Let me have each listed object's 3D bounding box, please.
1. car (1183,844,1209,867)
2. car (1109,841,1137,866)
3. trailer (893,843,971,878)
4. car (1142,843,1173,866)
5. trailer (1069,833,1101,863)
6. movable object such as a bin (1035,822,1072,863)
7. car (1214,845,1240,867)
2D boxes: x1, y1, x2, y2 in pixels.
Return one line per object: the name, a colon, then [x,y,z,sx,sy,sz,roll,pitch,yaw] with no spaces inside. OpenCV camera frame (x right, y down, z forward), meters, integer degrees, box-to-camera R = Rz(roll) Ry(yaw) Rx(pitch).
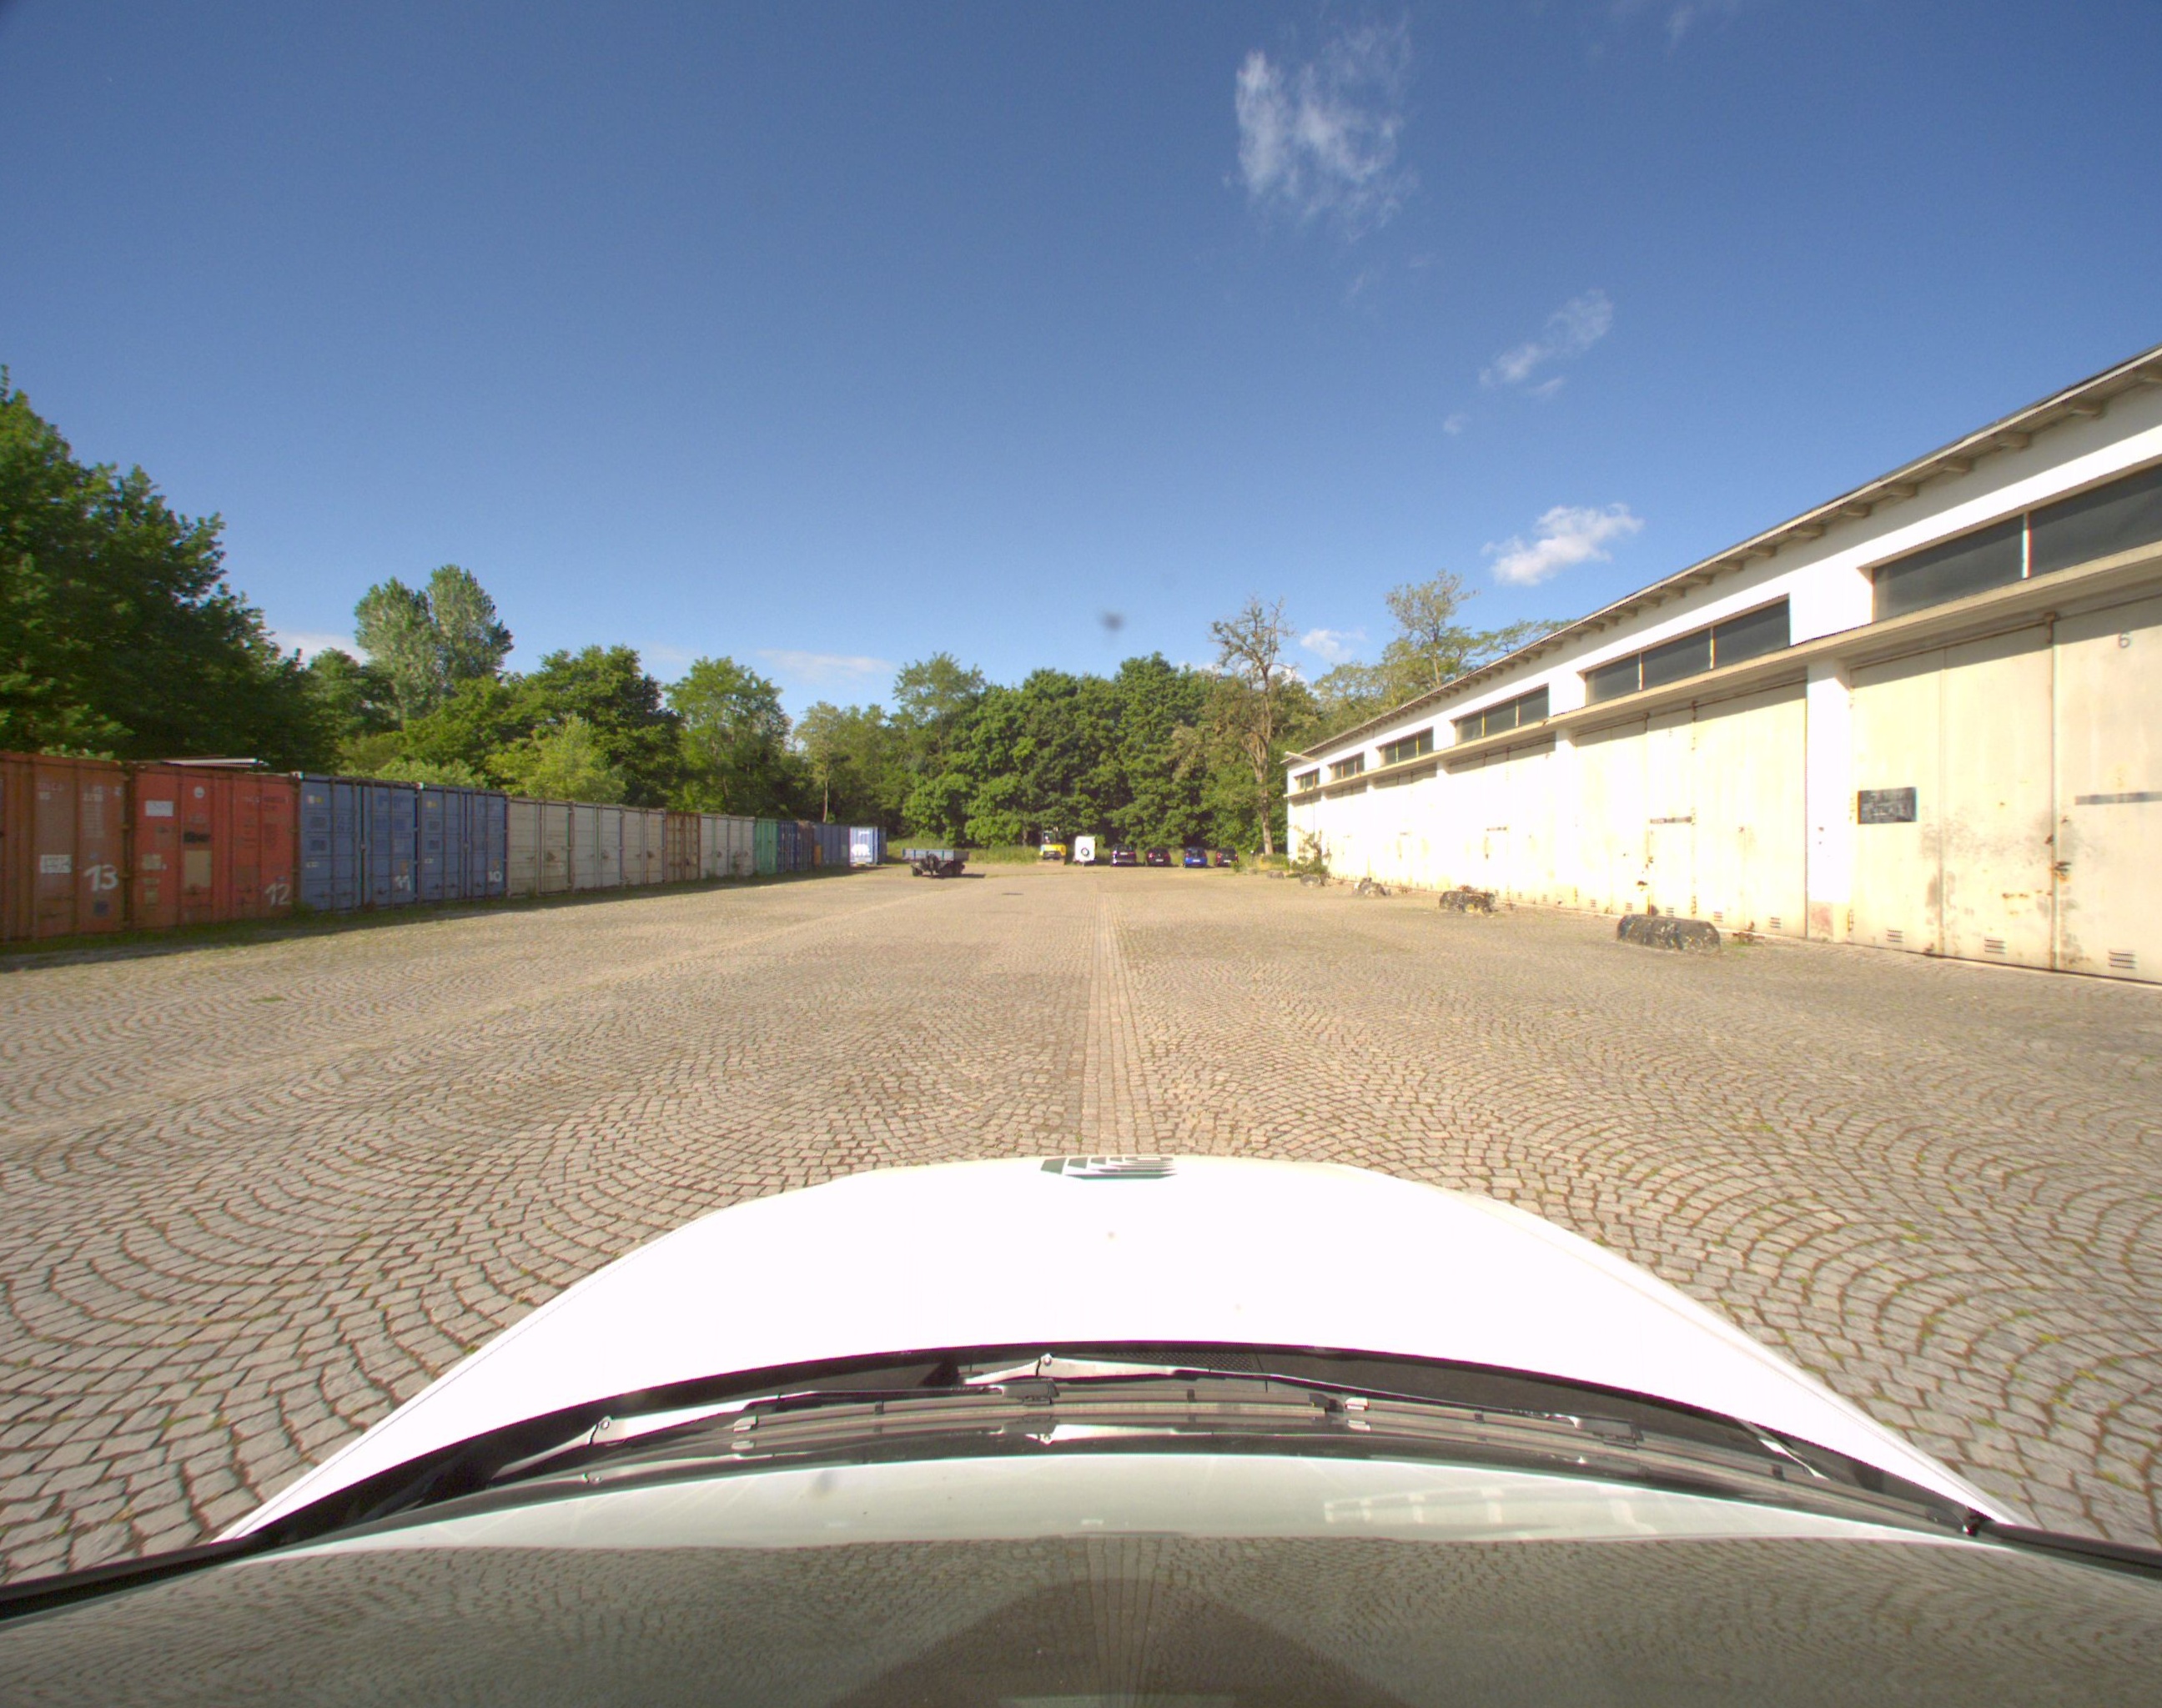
car: [8.229,0.063,58.560,1.735,1.436,4.191,2,2,6]
car: [2.982,-0.056,58.304,1.857,1.589,4.297,2,2,1]
trailer: [-7.299,0.246,40.690,2.697,1.465,6.247,2,1,0]
car: [5.473,-0.009,58.647,1.857,1.470,4.297,2,2,1]
trailer: [0.344,-0.506,60.706,2.185,2.094,5.753,2,2,1]
movable object such as a bin: [-2.011,-0.927,61.320,2.297,2.896,5.755,2,2,2]
car: [10.704,0.103,59.945,1.734,1.436,4.193,2,2,8]
